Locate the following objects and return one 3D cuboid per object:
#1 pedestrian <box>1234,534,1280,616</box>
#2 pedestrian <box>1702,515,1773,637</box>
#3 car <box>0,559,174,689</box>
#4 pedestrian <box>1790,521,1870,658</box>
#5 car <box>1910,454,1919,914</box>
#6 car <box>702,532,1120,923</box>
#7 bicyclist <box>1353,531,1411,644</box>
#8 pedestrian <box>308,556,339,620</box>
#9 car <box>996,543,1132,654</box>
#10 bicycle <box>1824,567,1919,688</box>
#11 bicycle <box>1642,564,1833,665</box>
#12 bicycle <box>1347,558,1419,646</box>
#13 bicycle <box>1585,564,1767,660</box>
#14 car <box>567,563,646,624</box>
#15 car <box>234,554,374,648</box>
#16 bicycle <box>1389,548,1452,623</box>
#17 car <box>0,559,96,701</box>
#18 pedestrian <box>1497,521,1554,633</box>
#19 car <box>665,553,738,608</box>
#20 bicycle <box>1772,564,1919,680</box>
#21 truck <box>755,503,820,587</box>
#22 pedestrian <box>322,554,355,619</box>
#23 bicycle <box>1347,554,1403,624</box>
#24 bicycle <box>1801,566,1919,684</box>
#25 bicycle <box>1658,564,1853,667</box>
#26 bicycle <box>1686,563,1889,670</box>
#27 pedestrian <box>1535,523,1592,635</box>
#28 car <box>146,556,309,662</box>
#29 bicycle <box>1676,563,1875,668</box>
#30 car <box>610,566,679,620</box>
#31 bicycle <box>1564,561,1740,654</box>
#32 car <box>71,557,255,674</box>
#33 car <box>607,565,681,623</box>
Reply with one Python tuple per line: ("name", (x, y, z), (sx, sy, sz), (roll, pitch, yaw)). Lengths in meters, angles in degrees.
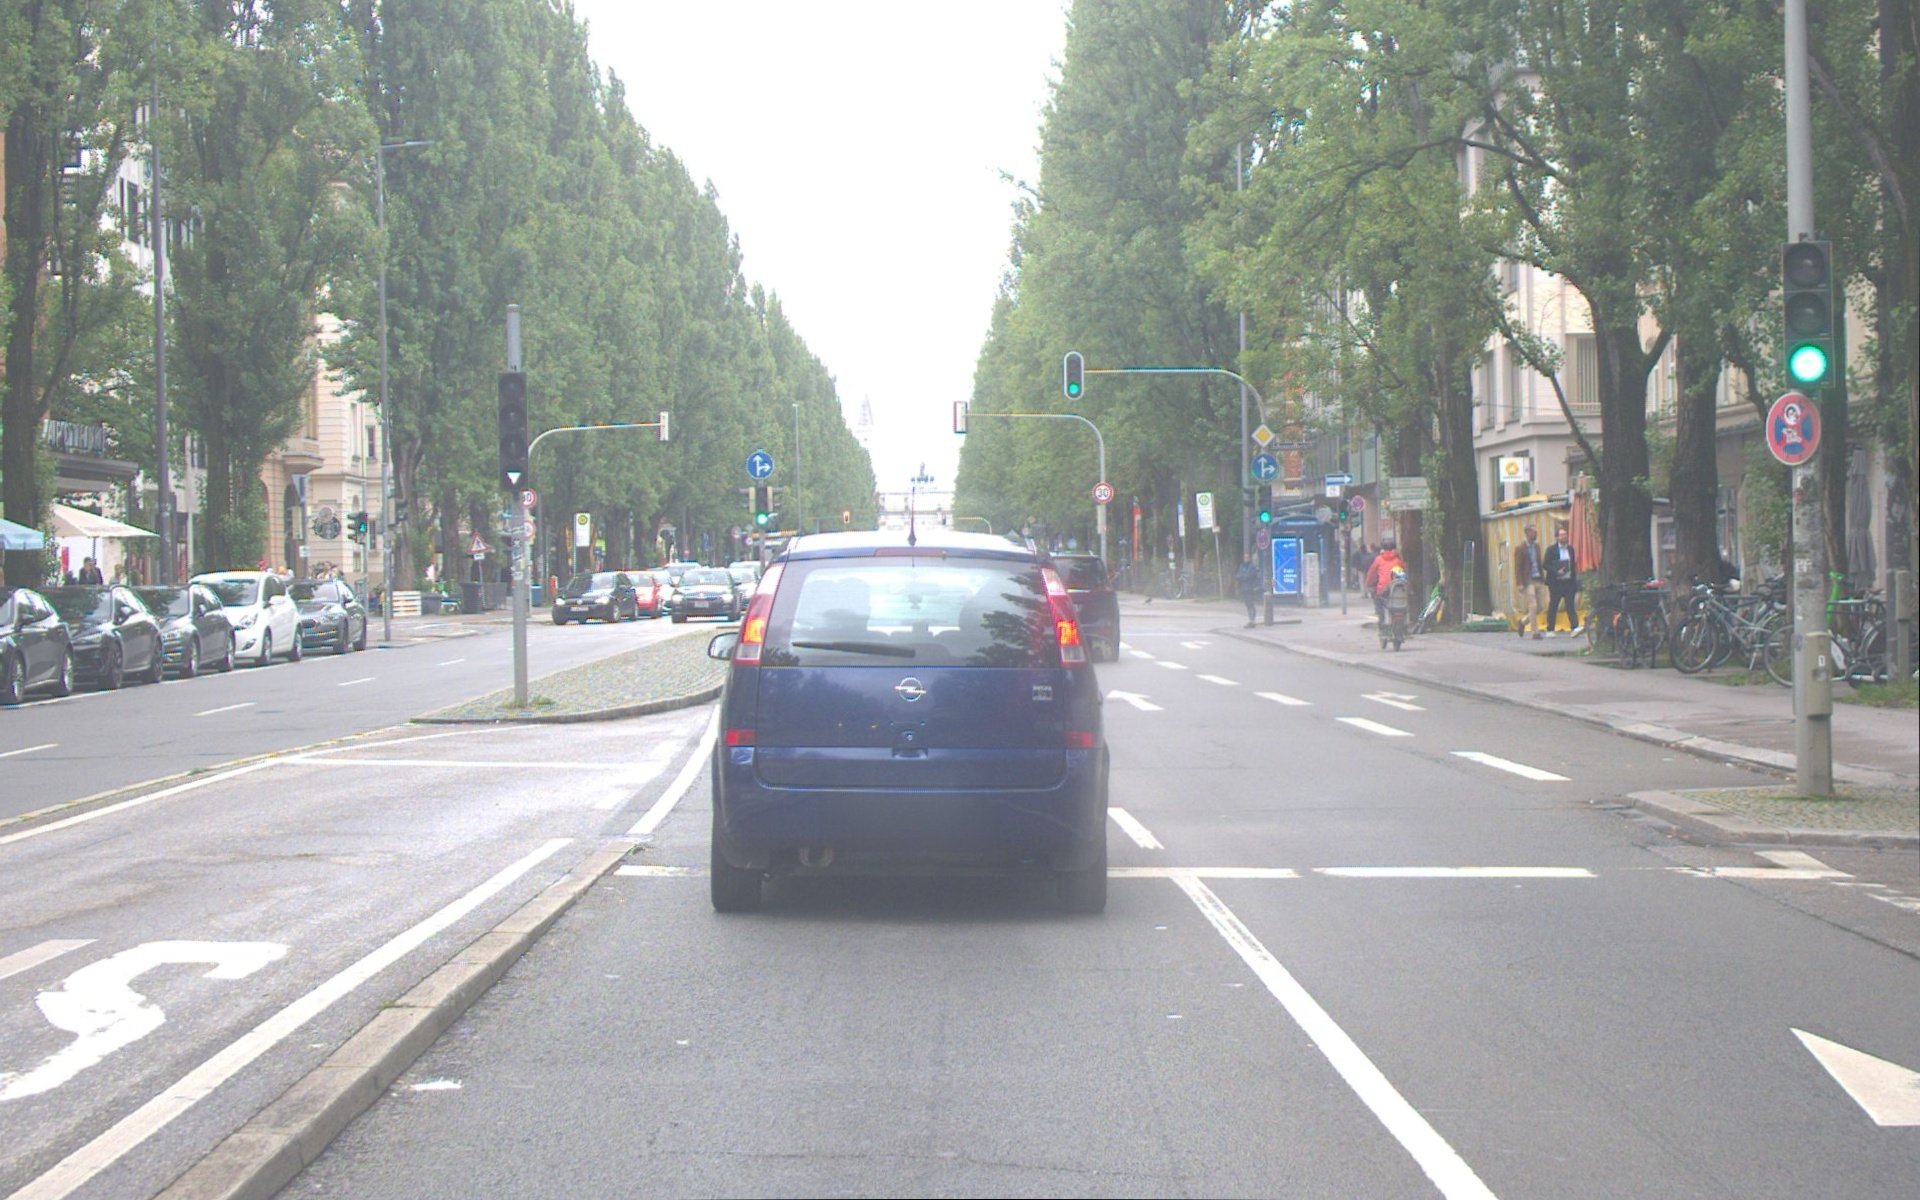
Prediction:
("pedestrian", (6.429, -0.536, 74.410), (0.882, 1.760, 0.770), (-1, 1, -3))
("pedestrian", (11.699, -0.362, 51.752), (0.719, 1.820, 0.888), (1, 0, -10))
("car", (-12.354, 0.307, 47.845), (1.866, 1.660, 4.120), (-2, 1, -1))
("pedestrian", (11.721, -0.143, 46.340), (0.719, 1.820, 0.888), (1, 0, -10))
("car", (4.964, 0.381, 12.267), (1.787, 1.939, 4.731), (0, 1, -1))
("car", (-0.210, 0.482, 15.770), (1.671, 1.563, 4.000), (0, 1, 0))
("bicyclist", (6.659, -0.200, 54.294), (0.767, 1.760, 0.885), (-1, 1, -1))
("pedestrian", (-17.800, -0.349, 96.102), (0.767, 1.760, 0.885), (-1, 1, -14))
("car", (1.531, -0.051, 51.927), (1.896, 1.616, 4.000), (0, 1, 0))
("bicycle", (9.995, 0.259, 34.973), (2.227, 1.200, 0.626), (-1, 1, -2))
("bicycle", (9.728, 0.179, 43.058), (2.227, 1.200, 0.626), (-1, 1, -2))
("bicycle", (6.664, 0.010, 54.253), (0.772, 1.344, 2.449), (-1, 1, -1))
("bicycle", (9.402, 0.153, 45.174), (2.227, 1.200, 0.626), (-1, 1, -2))
("car", (-10.036, -0.201, 97.823), (1.866, 1.660, 4.120), (-1, 1, -1))
("car", (-12.530, -0.010, 65.907), (1.866, 1.660, 4.120), (-2, 1, -1))
("bicycle", (8.481, -0.274, 63.369), (0.772, 1.344, 2.449), (-1, 1, -1))
("car", (-12.195, 0.363, 42.691), (1.866, 1.660, 4.120), (-2, 1, -1))
("pedestrian", (9.319, -0.374, 56.640), (0.636, 1.820, 0.888), (1, 0, -10))
("car", (-7.030, -0.549, 93.705), (1.735, 1.460, 3.365), (-1, 1, -1))
("bicycle", (9.978, 0.228, 37.169), (2.227, 1.200, 0.626), (-1, 1, -2))
("truck", (-7.115, -2.278, 142.334), (2.383, 3.335, 7.111), (-1, 1, -1))
("pedestrian", (-16.962, -0.381, 93.841), (0.767, 1.760, 0.885), (-1, 1, -16))
("bicycle", (8.294, -0.232, 68.786), (0.772, 1.344, 2.449), (-1, 1, -1))
("bicycle", (10.025, 0.245, 36.085), (2.227, 1.200, 0.626), (-1, 1, -2))
("bicycle", (9.768, 0.183, 42.262), (2.227, 1.200, 0.626), (-1, 1, -2))
("bicycle", (9.774, 0.192, 40.655), (2.227, 1.200, 0.626), (-1, 1, -2))
("pedestrian", (10.015, -0.348, 57.034), (0.636, 1.820, 0.888), (1, 0, -10))
("car", (-12.446, 0.127, 58.632), (1.866, 1.660, 4.120), (-2, 1, -1))
("bicycle", (9.826, 0.186, 41.464), (2.227, 1.200, 0.626), (-1, 1, -2))
("car", (-10.138, -0.230, 110.742), (1.866, 1.660, 4.120), (-1, 1, -1))
("bicycle", (9.360, 0.100, 46.552), (2.227, 1.200, 0.626), (-1, 1, -2))
("car", (-12.315, 0.208, 53.371), (1.866, 1.660, 4.120), (-2, 1, -1))
("car", (-9.520, -0.206, 103.839), (1.866, 1.660, 4.120), (-1, 1, -1))
